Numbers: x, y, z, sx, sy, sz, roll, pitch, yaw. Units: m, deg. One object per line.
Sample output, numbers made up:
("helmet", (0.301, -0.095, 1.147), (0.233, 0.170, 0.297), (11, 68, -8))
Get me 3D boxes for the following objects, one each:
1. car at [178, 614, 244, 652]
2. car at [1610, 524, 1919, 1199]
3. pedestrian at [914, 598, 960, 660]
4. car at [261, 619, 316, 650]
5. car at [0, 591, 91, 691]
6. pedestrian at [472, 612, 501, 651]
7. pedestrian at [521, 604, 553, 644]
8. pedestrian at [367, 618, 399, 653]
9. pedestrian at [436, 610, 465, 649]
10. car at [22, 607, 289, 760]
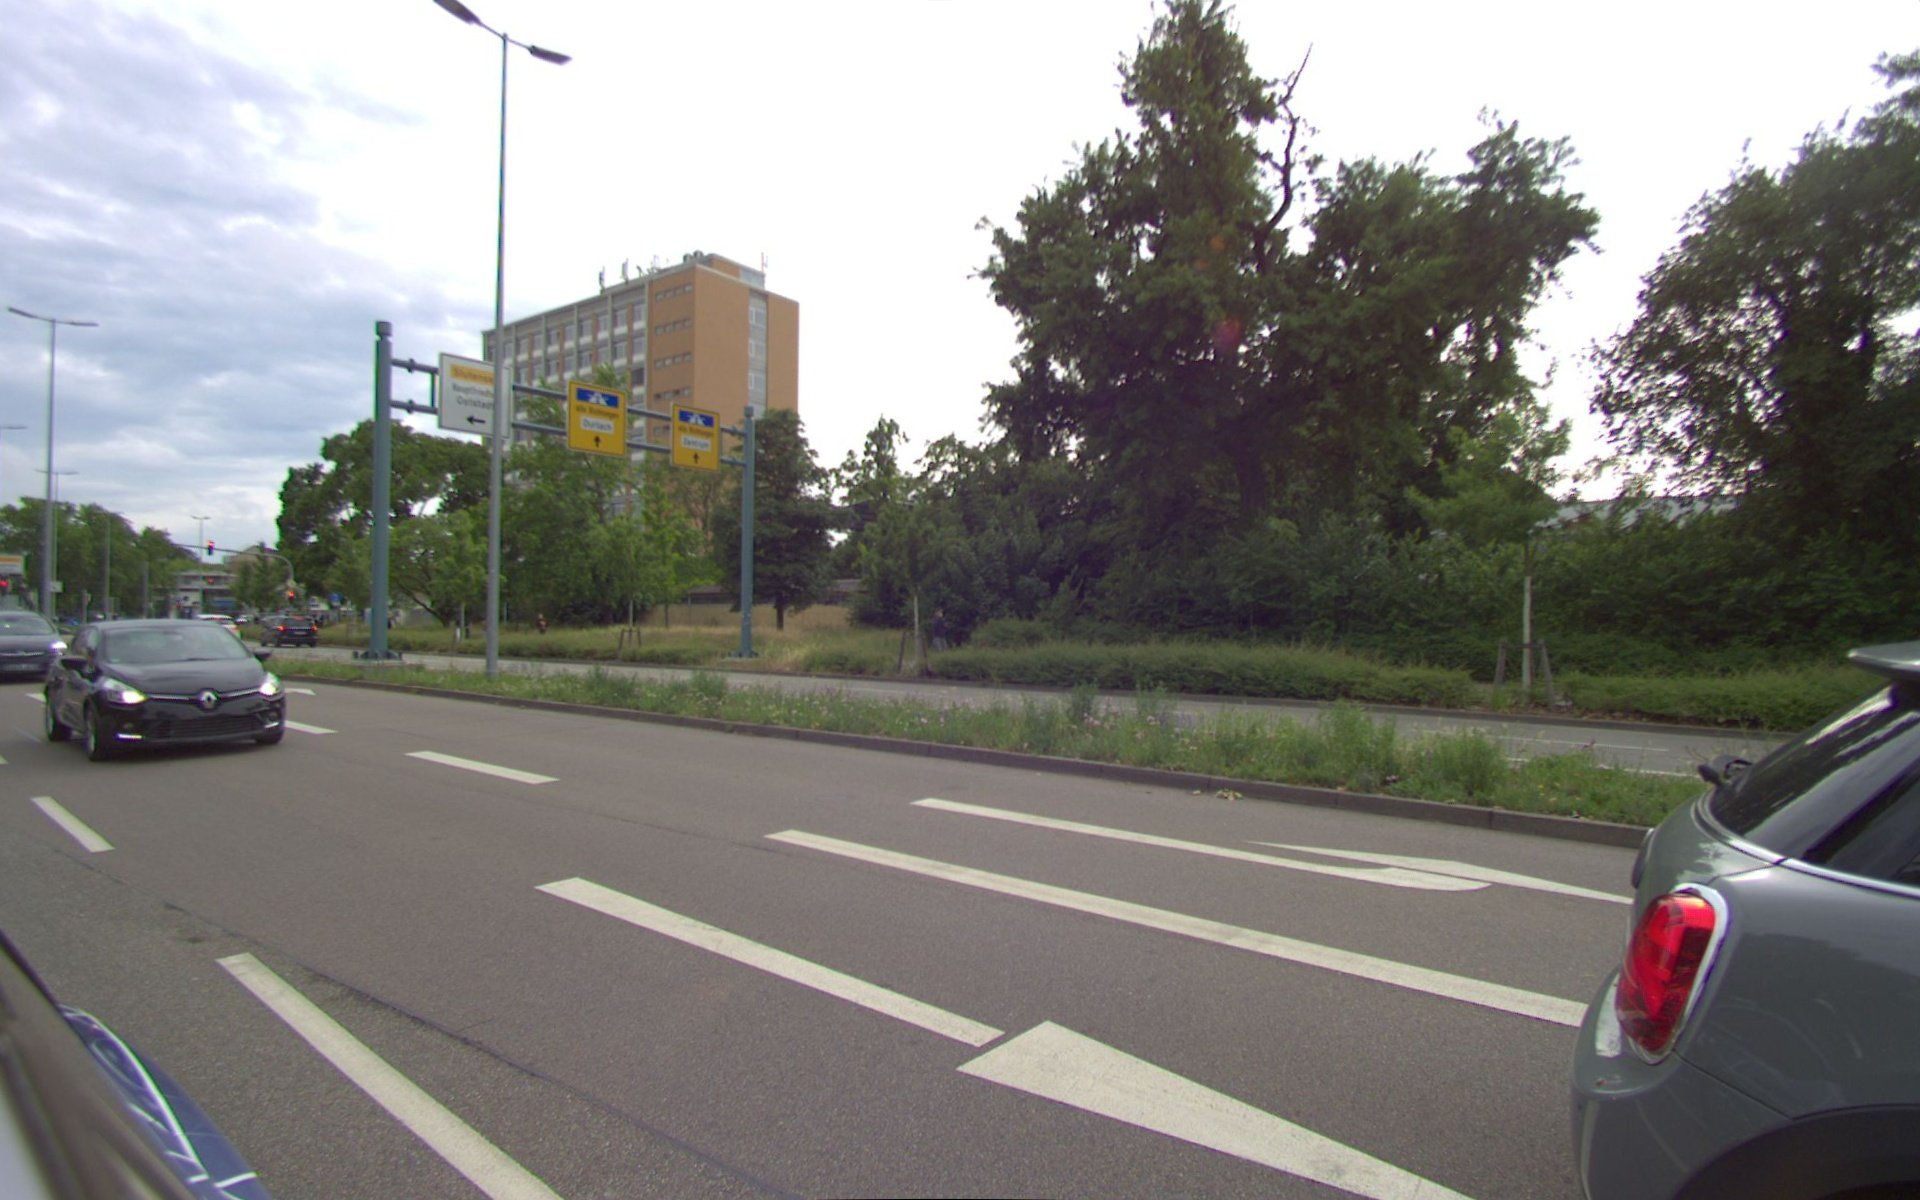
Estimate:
("car", (-37.814, 1.641, 51.060), (3.998, 1.786, 1.869), (0, 0, 41))
("car", (2.950, 0.564, 0.994), (3.703, 1.328, 1.604), (-1, -2, 41))
("pedestrian", (-0.619, 0.784, 27.774), (0.812, 1.637, 0.978), (-1, 0, 38))
("car", (-35.046, 1.769, 52.790), (1.828, 1.564, 4.005), (1, -1, -42))
("car", (-20.705, 0.859, 22.139), (3.998, 2.029, 1.973), (-1, -2, 41))
("pedestrian", (-24.844, 1.641, 53.099), (1.218, 2.029, 0.872), (-1, 0, 33))
("pedestrian", (-21.072, 1.167, 50.423), (1.163, 1.933, 1.122), (-1, 0, 44))
("pedestrian", (-34.226, 2.081, 60.054), (1.519, 2.029, 1.208), (-1, 0, 40))
("pedestrian", (-26.597, 1.521, 52.852), (1.218, 2.029, 0.872), (-1, 0, 33))
("car", (-9.386, 0.844, 11.700), (3.998, 1.470, 1.709), (-1, -2, 41))
